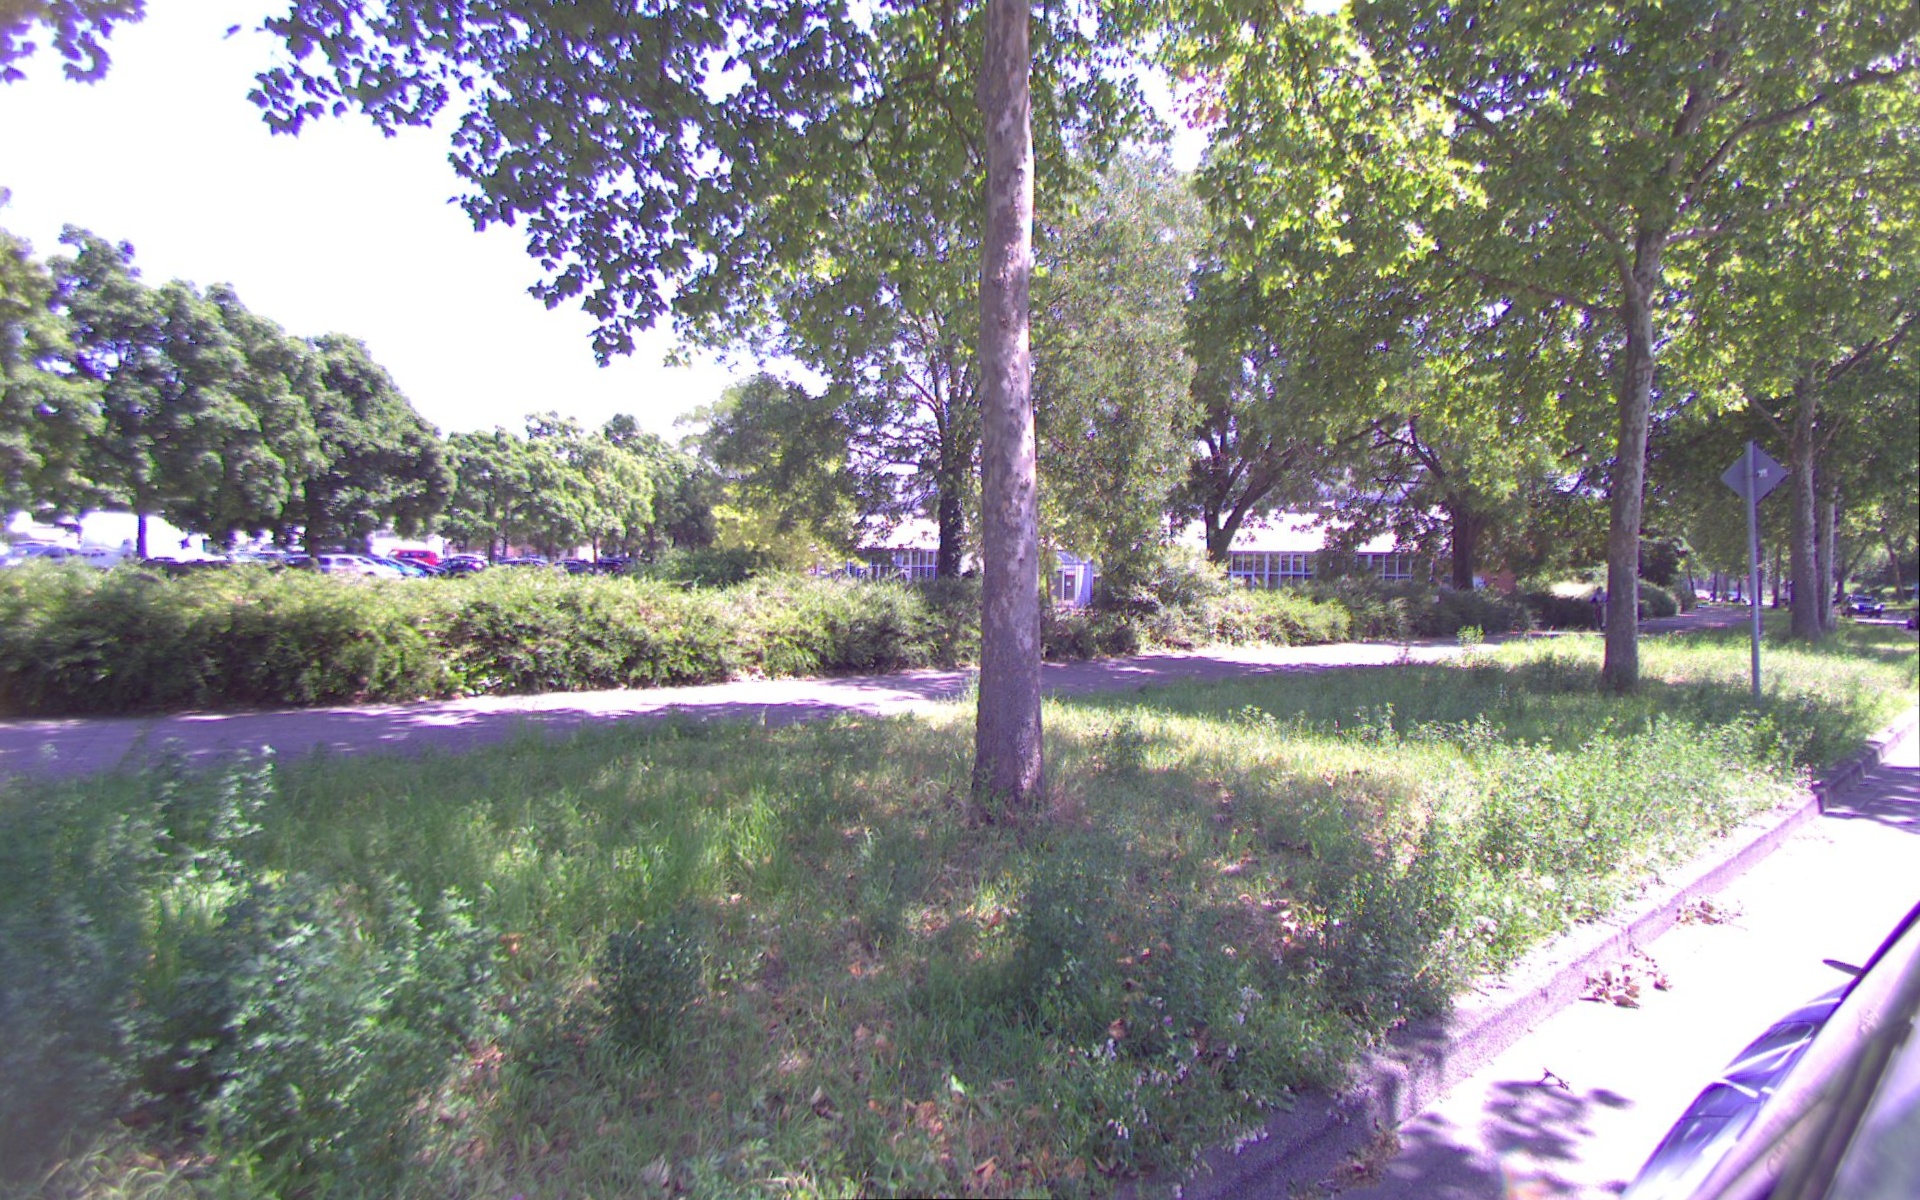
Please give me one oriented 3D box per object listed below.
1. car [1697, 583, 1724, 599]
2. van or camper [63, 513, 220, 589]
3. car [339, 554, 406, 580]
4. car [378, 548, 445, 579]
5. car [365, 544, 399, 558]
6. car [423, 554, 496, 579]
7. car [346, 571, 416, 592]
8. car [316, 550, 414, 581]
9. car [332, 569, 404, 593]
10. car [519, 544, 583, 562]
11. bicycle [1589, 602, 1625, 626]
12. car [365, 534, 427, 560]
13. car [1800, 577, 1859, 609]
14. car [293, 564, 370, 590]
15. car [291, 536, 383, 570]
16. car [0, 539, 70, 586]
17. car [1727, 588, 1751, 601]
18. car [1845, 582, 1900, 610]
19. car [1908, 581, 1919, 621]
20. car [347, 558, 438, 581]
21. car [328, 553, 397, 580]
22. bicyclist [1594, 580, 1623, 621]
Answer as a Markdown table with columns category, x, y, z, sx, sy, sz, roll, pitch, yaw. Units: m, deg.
| category | x | y | z | sx | sy | sz | roll | pitch | yaw |
| --- | --- | --- | --- | --- | --- | --- | --- | --- | --- |
| car | 95.480 | -1.159 | 128.750 | 1.980 | 1.860 | 3.965 | 2 | 1 | 25 |
| van or camper | -32.486 | -1.917 | 40.395 | 2.161 | 2.785 | 5.131 | 1 | 2 | 0 |
| car | -27.656 | -1.545 | 47.678 | 2.547 | 1.141 | 0.955 | 1 | 1 | -8 |
| car | -40.772 | -2.721 | 75.290 | 3.920 | 2.039 | 1.969 | -3 | -1 | -6 |
| car | -70.024 | -5.932 | 122.698 | 1.433 | 1.638 | 3.326 | 2 | 2 | 35 |
| car | -28.641 | -1.912 | 57.961 | 3.357 | 1.383 | 1.720 | 1 | 1 | -8 |
| car | -25.841 | -0.823 | 45.208 | 2.547 | 0.852 | 0.955 | 1 | 1 | -8 |
| car | -27.323 | -1.573 | 46.539 | 3.501 | 1.241 | 1.623 | 2 | 1 | -8 |
| car | -25.677 | -0.833 | 43.931 | 2.547 | 0.999 | 0.955 | 1 | 1 | -8 |
| car | -62.407 | -7.164 | 154.667 | 8.647 | 2.620 | 3.054 | 1 | 1 | -9 |
| bicycle | 21.691 | 0.451 | 33.920 | 1.637 | 0.773 | 0.465 | 0 | 1 | -37 |
| car | -76.094 | -7.164 | 136.677 | 7.056 | 3.221 | 3.197 | 0 | 1 | -24 |
| car | 77.509 | -0.701 | 90.289 | 2.897 | 2.687 | 6.296 | 1 | 2 | 31 |
| car | -26.305 | -0.956 | 42.406 | 2.547 | 1.049 | 0.955 | 1 | 1 | -8 |
| car | -38.795 | -2.905 | 63.146 | 4.334 | 2.039 | 2.249 | 1 | 1 | -5 |
| car | -36.521 | -1.433 | 38.426 | 1.919 | 1.739 | 4.073 | 1 | 1 | -1 |
| car | 87.151 | -0.600 | 113.226 | 1.494 | 1.404 | 3.397 | 2 | 1 | 27 |
| car | 63.127 | -0.288 | 70.061 | 1.983 | 1.816 | 3.958 | 2 | 2 | 30 |
| car | 46.517 | 0.086 | 47.643 | 1.986 | 1.905 | 3.953 | 2 | 2 | 33 |
| car | -27.496 | -1.465 | 49.126 | 3.494 | 1.047 | 1.685 | 1 | 2 | -8 |
| car | -27.512 | -1.540 | 46.625 | 2.547 | 1.141 | 1.008 | 1 | 1 | -8 |
| bicyclist | 21.725 | 0.011 | 33.924 | 0.654 | 1.355 | 0.601 | 0 | 1 | -36 |
